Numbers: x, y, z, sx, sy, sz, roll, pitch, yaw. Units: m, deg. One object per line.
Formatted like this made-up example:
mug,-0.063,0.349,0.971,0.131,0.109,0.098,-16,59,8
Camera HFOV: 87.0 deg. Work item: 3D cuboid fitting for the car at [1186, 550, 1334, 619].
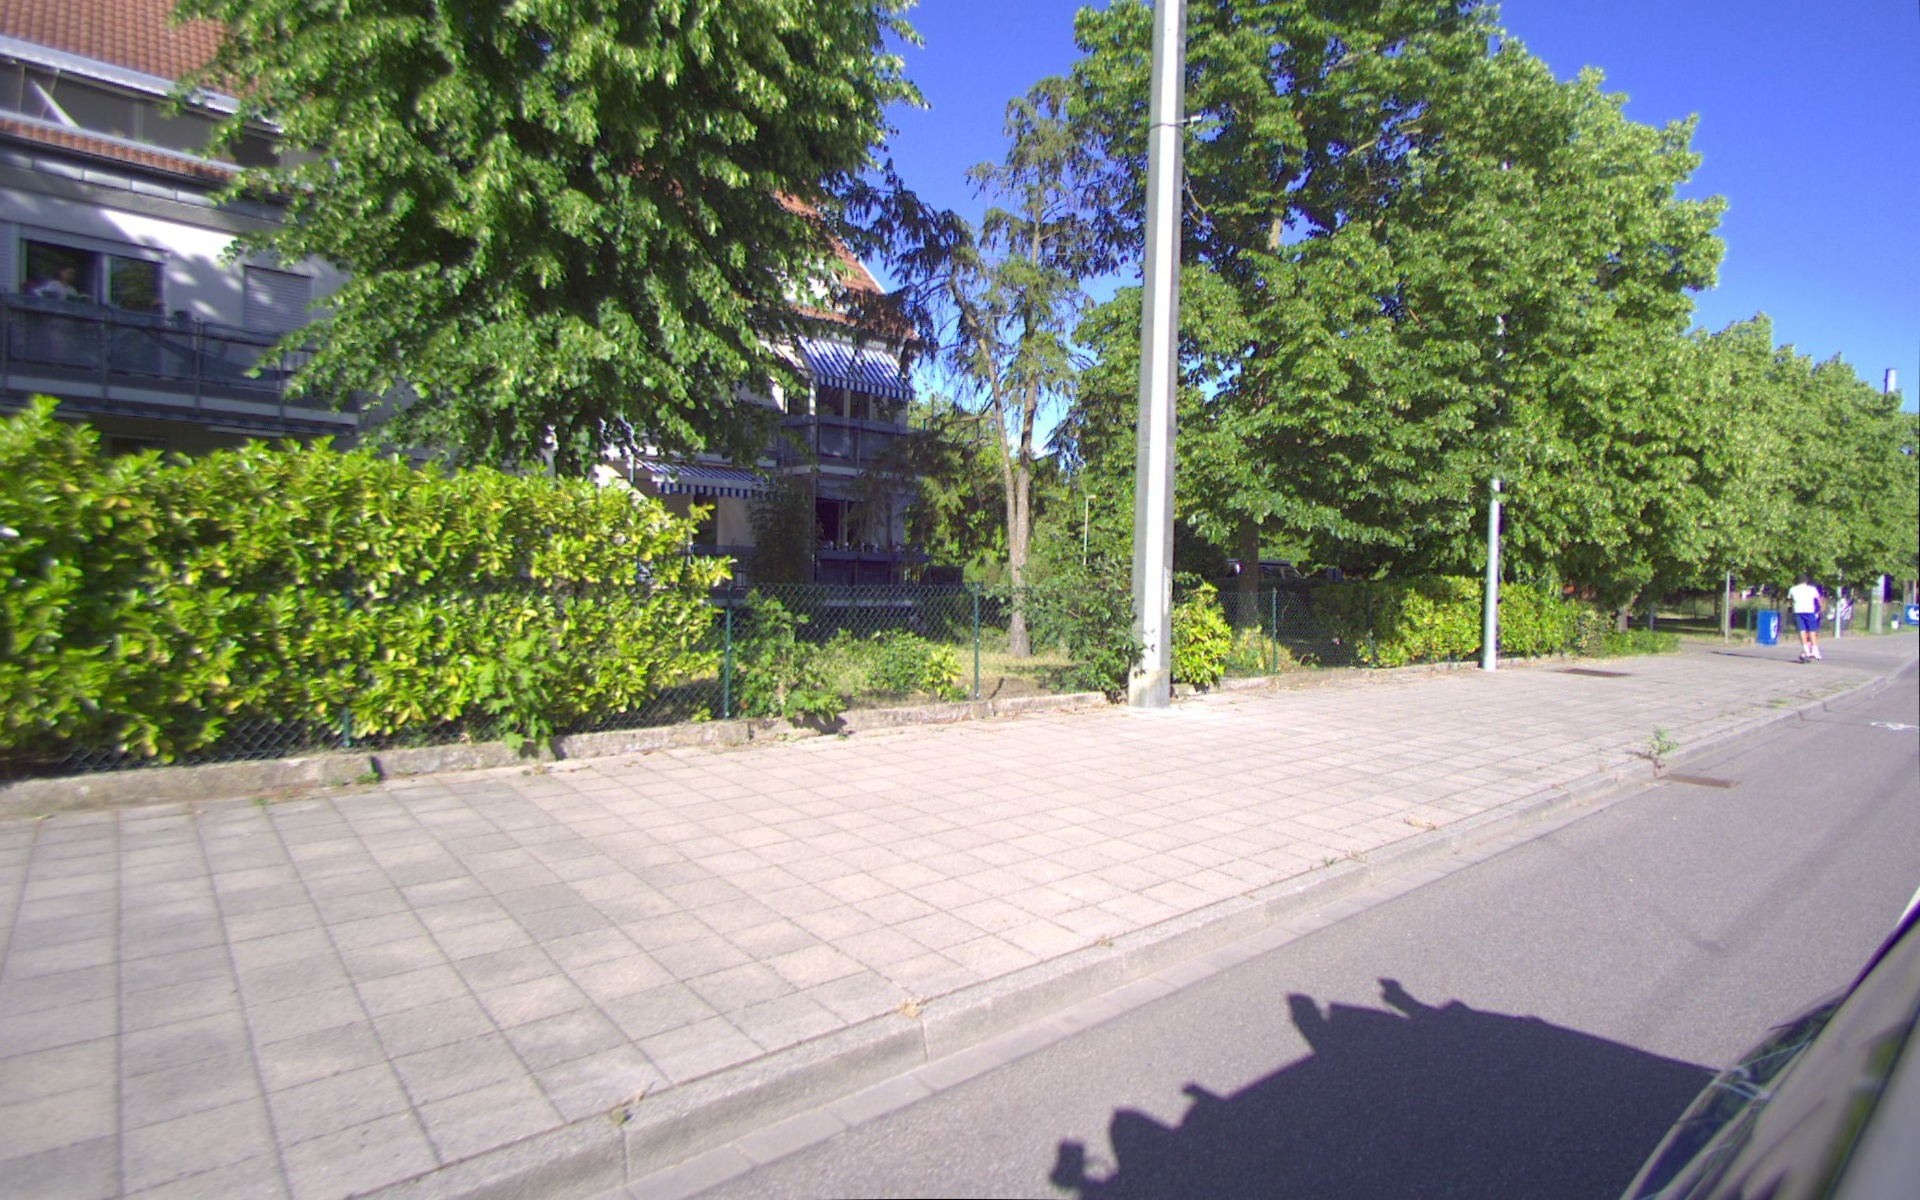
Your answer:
car,9.180,-0.490,30.777,4.870,1.962,1.877,0,2,-40

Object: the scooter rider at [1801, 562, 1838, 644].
scooter rider,19.016,0.062,22.386,0.588,1.789,0.551,0,0,-42

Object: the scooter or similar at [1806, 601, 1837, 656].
scooter or similar,19.053,0.618,22.371,1.188,1.151,0.349,0,2,-42

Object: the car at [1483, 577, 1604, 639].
car,14.293,0.150,24.692,3.986,1.378,1.464,-1,2,-44
